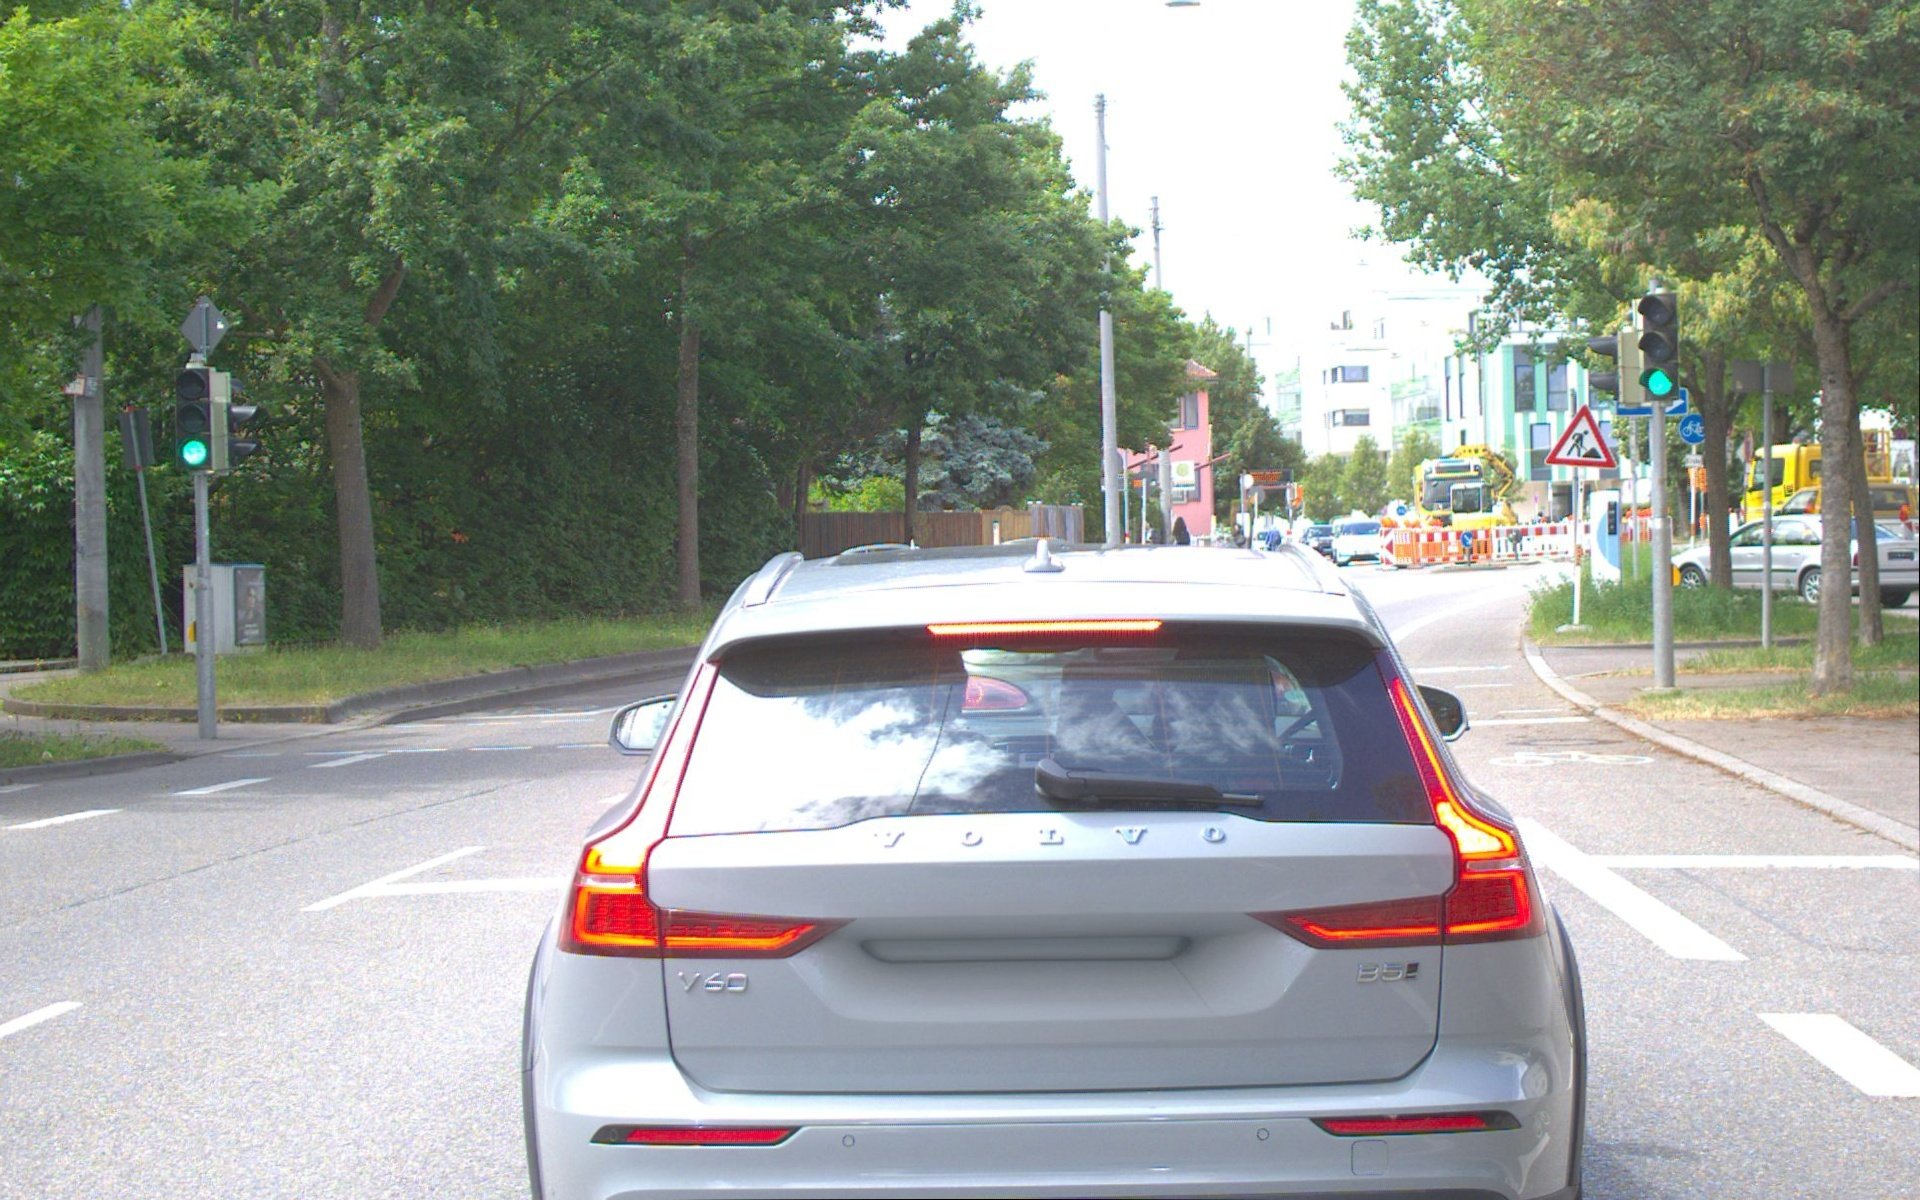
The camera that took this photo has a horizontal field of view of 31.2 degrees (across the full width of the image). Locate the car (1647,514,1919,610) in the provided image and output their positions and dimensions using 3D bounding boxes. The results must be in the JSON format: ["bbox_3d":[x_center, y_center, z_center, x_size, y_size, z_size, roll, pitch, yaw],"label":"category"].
[{"bbox_3d":[13.133,-0.624,54.235,1.762,1.447,4.689,-1,2,-32],"label":"car"}]

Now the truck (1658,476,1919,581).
[{"bbox_3d":[16.819,-1.423,68.937,1.994,2.007,5.677,1,0,-35],"label":"truck"}]

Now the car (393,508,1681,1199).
[{"bbox_3d":[0.185,0.606,7.183,1.928,1.535,4.000,-1,1,2],"label":"car"}]

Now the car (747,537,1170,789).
[{"bbox_3d":[0.098,0.365,22.739,2.103,1.505,3.998,0,0,10],"label":"car"}]

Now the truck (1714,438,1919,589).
[{"bbox_3d":[18.986,-1.735,70.667,2.761,2.998,6.706,1,0,-34],"label":"truck"}]

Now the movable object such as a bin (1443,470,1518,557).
[{"bbox_3d":[16.555,-2.751,109.142,2.035,2.634,5.937,-2,1,11],"label":"movable object such as a bin"}]

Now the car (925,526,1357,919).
[{"bbox_3d":[0.783,0.467,15.389,1.661,1.503,3.702,1,0,2],"label":"car"}]

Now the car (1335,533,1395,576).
[{"bbox_3d":[13.749,-1.526,116.553,1.829,1.325,3.998,1,-1,9],"label":"car"}]
